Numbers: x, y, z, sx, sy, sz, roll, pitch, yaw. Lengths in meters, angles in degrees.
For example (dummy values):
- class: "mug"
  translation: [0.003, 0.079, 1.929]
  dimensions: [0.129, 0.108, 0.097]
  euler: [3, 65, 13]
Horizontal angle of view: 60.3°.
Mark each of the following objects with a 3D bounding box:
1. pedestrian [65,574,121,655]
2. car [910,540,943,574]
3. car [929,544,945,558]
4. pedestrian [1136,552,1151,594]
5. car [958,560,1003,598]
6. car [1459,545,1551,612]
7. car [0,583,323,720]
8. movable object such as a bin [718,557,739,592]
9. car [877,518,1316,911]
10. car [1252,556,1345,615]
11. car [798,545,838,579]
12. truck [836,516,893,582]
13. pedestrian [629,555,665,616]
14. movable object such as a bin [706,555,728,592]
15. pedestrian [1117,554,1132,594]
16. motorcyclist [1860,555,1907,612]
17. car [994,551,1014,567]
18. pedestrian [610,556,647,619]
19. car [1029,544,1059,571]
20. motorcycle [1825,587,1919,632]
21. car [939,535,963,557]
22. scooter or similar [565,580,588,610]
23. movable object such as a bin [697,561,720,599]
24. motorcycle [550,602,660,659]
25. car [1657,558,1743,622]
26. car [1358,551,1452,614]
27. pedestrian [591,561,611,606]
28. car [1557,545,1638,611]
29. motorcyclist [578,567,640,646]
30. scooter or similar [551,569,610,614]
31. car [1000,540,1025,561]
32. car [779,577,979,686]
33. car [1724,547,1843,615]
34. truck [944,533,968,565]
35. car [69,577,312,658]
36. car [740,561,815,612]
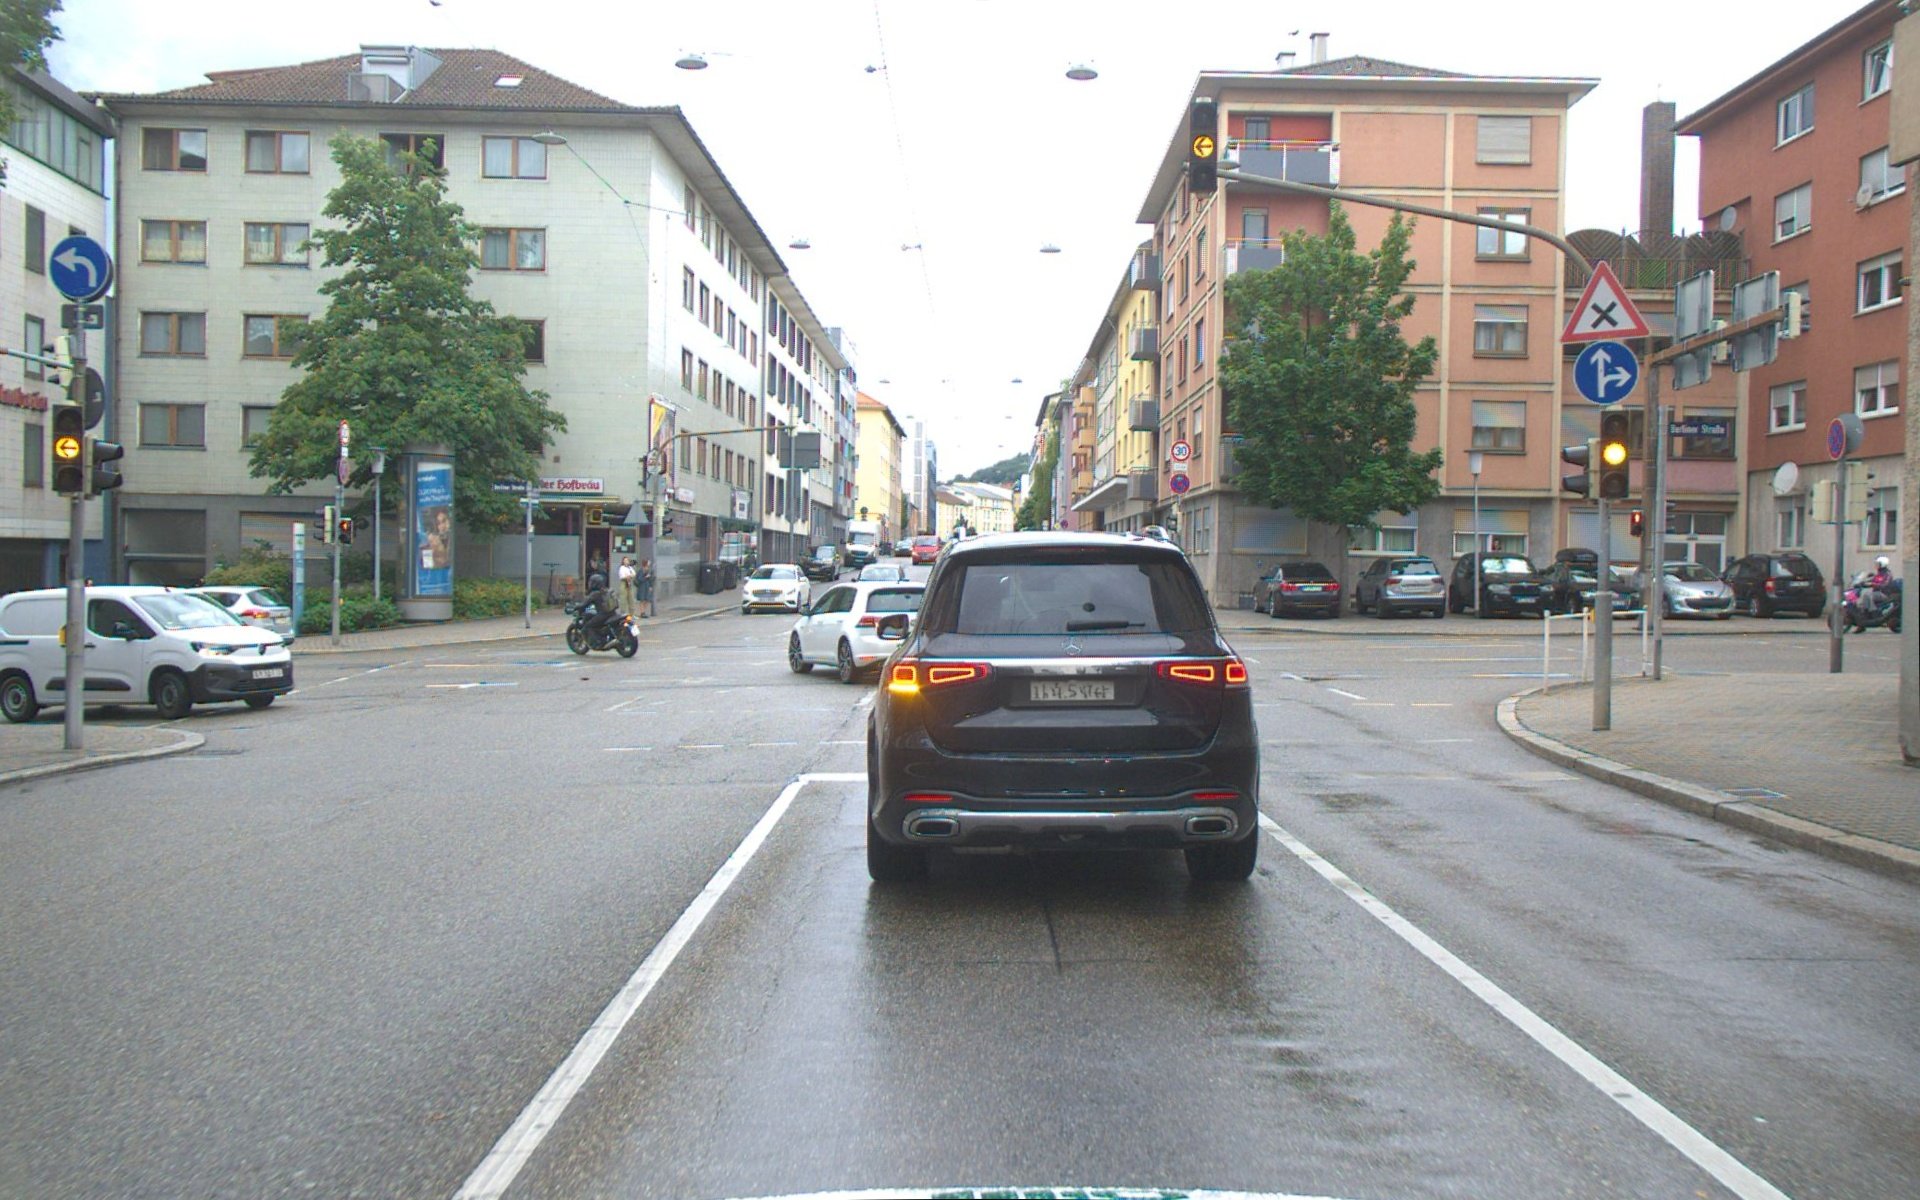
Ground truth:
- class: "pedestrian"
  translation: [-20.497, 0.332, 39.105]
  dimensions: [0.897, 1.848, 0.754]
  euler: [2, 4, 29]
- class: "car"
  translation: [-2.253, -2.904, 112.445]
  dimensions: [2.022, 2.280, 4.621]
  euler: [0, 1, 2]
- class: "car"
  translation: [-2.827, -5.964, 201.517]
  dimensions: [1.806, 1.703, 4.001]
  euler: [0, 1, 2]
- class: "pedestrian"
  translation: [7.175, -1.049, 64.609]
  dimensions: [0.469, 1.593, 0.558]
  euler: [2, 4, 1]
- class: "car"
  translation: [0.851, -0.855, 68.329]
  dimensions: [1.806, 1.515, 4.001]
  euler: [0, 1, 1]
- class: "car"
  translation: [14.971, -0.591, 45.584]
  dimensions: [1.944, 1.749, 4.004]
  euler: [0, 1, 12]
- class: "car"
  translation: [-11.482, 0.726, 23.344]
  dimensions: [4.436, 1.745, 1.813]
  euler: [-2, 1, 18]
- class: "movable object such as a bin"
  translation: [-9.114, -1.008, 65.039]
  dimensions: [0.683, 1.338, 0.782]
  euler: [2, 0, -1]
- class: "car"
  translation: [0.551, 0.496, 9.853]
  dimensions: [1.980, 1.770, 4.746]
  euler: [0, 1, -2]
- class: "car"
  translation: [9.491, -0.433, 46.687]
  dimensions: [1.805, 1.581, 4.798]
  euler: [0, 1, 2]
- class: "car"
  translation: [-7.083, -1.890, 82.834]
  dimensions: [1.688, 1.631, 4.000]
  euler: [0, 1, 0]
- class: "truck"
  translation: [-6.115, -3.260, 107.467]
  dimensions: [2.749, 3.899, 8.147]
  euler: [2, 0, 2]
- class: "pedestrian"
  translation: [-8.784, -0.411, 46.446]
  dimensions: [0.702, 1.675, 0.750]
  euler: [0, 4, -36]
- class: "movable object such as a bin"
  translation: [-9.150, -1.003, 62.302]
  dimensions: [0.683, 1.338, 0.782]
  euler: [2, 0, -1]
- class: "pedestrian"
  translation: [6.746, -1.075, 67.718]
  dimensions: [0.509, 1.565, 0.569]
  euler: [2, 4, 1]
- class: "motorcyclist"
  translation: [20.624, -0.370, 36.946]
  dimensions: [0.643, 1.245, 0.653]
  euler: [-1, 1, -7]
- class: "car"
  translation: [4.750, -4.386, 177.689]
  dimensions: [1.974, 1.590, 4.001]
  euler: [2, 0, 3]
- class: "pedestrian"
  translation: [-9.145, -0.340, 45.594]
  dimensions: [0.702, 1.675, 0.750]
  euler: [0, 4, -36]
- class: "car"
  translation: [5.685, -2.864, 111.880]
  dimensions: [1.974, 1.590, 5.157]
  euler: [2, 0, 3]
- class: "motorcycle"
  translation: [20.612, 0.208, 36.956]
  dimensions: [2.312, 0.943, 0.636]
  euler: [-2, -1, -7]
- class: "car"
  translation: [-0.709, -4.298, 131.530]
  dimensions: [1.806, 1.703, 4.001]
  euler: [0, 1, 2]
- class: "scooter or similar"
  translation: [-11.354, -0.157, 48.938]
  dimensions: [0.452, 0.857, 1.313]
  euler: [2, 0, -22]
- class: "movable object such as a bin"
  translation: [-9.178, -0.735, 60.379]
  dimensions: [0.683, 1.338, 0.782]
  euler: [2, 0, -1]
- class: "motorcycle"
  translation: [-6.817, 0.566, 31.737]
  dimensions: [2.208, 1.024, 0.861]
  euler: [0, 1, 38]
- class: "car"
  translation: [20.235, -0.239, 45.361]
  dimensions: [1.634, 1.609, 4.002]
  euler: [2, 0, 17]
- class: "car"
  translation: [12.365, -0.510, 46.136]
  dimensions: [1.944, 1.689, 4.003]
  euler: [0, 1, 6]
- class: "pedestrian"
  translation: [-11.592, -0.519, 53.375]
  dimensions: [0.508, 1.424, 0.578]
  euler: [2, 0, -3]
- class: "car"
  translation: [17.717, -0.610, 45.874]
  dimensions: [1.759, 1.727, 3.997]
  euler: [2, 1, 25]
- class: "motorcyclist"
  translation: [-6.716, 0.118, 31.669]
  dimensions: [0.732, 1.478, 0.903]
  euler: [0, 1, 38]
- class: "scooter or similar"
  translation: [-10.789, -0.232, 47.050]
  dimensions: [1.539, 1.211, 0.496]
  euler: [2, 0, -29]
- class: "car"
  translation: [4.565, -4.261, 143.692]
  dimensions: [1.974, 1.590, 4.001]
  euler: [2, 0, 3]
- class: "car"
  translation: [-1.368, 0.415, 25.902]
  dimensions: [1.805, 1.487, 4.350]
  euler: [-2, 2, -22]
- class: "car"
  translation: [22.682, -0.489, 45.697]
  dimensions: [1.951, 1.735, 4.003]
  euler: [2, 0, 12]
- class: "truck"
  translation: [-0.511, -6.766, 221.713]
  dimensions: [2.749, 3.899, 8.147]
  euler: [2, 0, 2]
- class: "car"
  translation: [-16.189, 0.336, 34.951]
  dimensions: [4.164, 1.628, 2.026]
  euler: [0, 1, -3]
- class: "car"
  translation: [-5.686, -0.441, 51.879]
  dimensions: [1.806, 1.539, 4.001]
  euler: [-1, 1, 1]
